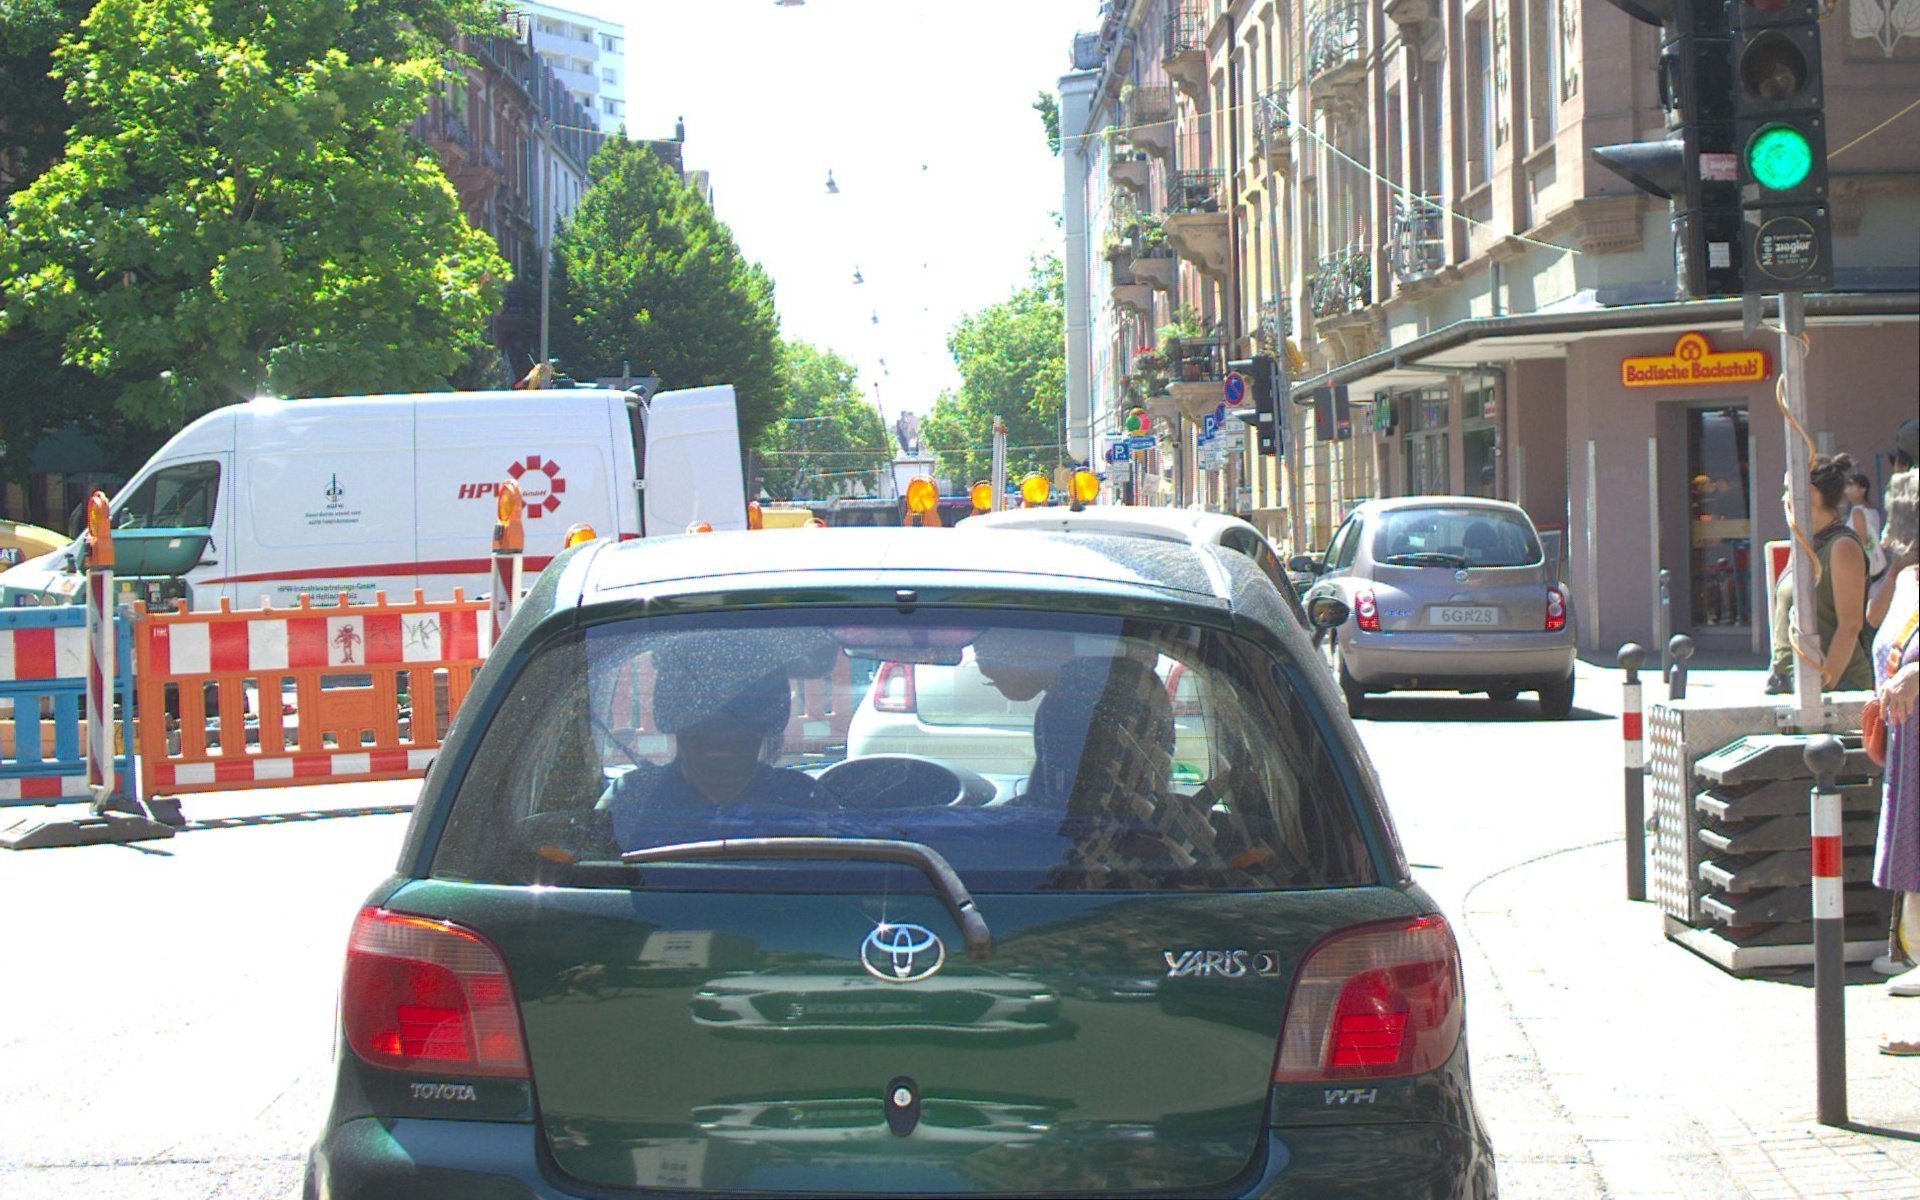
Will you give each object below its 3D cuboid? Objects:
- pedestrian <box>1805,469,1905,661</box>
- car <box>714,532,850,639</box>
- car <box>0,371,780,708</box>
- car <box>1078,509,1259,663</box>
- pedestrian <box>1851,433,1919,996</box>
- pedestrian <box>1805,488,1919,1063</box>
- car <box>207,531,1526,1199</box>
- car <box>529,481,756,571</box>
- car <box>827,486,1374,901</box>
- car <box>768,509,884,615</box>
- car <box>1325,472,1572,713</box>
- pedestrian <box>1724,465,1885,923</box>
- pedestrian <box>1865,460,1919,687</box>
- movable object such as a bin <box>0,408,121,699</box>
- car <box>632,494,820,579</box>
[{"bbox_3d":[7.686,-0.302,29.551,0.802,1.618,0.643,-1,1,14],"label":"pedestrian"},{"bbox_3d":[-2.540,-0.237,49.874,1.754,1.439,4.000,-2,1,0],"label":"car"},{"bbox_3d":[-4.962,-0.535,29.875,6.622,2.742,2.380,1,1,1],"label":"car"},{"bbox_3d":[2.163,-0.178,34.913,1.627,1.427,3.660,-2,1,6],"label":"car"},{"bbox_3d":[2.905,0.334,10.382,0.332,1.670,0.401,-1,1,6],"label":"pedestrian"},{"bbox_3d":[2.645,0.462,9.453,0.493,1.538,0.436,-3,1,6],"label":"pedestrian"},{"bbox_3d":[-0.040,0.628,5.825,1.614,1.480,3.241,0,1,3],"label":"car"},{"bbox_3d":[-7.309,-1.706,79.310,4.773,1.987,2.054,-2,1,-29],"label":"car"},{"bbox_3d":[0.694,0.298,14.335,1.523,1.516,3.261,-1,2,16],"label":"car"},{"bbox_3d":[-2.279,-0.677,59.426,1.754,1.639,4.378,-4,1,0],"label":"car"},{"bbox_3d":[3.437,-0.096,24.611,1.522,1.587,3.263,-1,2,4],"label":"car"},{"bbox_3d":[2.929,0.318,11.947,0.459,1.555,0.479,-1,1,6],"label":"pedestrian"},{"bbox_3d":[7.286,-0.206,26.600,0.478,1.727,0.871,-1,0,19],"label":"pedestrian"},{"bbox_3d":[-10.422,-0.467,32.406,4.543,2.650,1.955,1,1,0],"label":"movable object such as a bin"},{"bbox_3d":[-6.246,-1.714,91.718,4.557,2.180,2.000,-1,1,-27],"label":"car"}]
